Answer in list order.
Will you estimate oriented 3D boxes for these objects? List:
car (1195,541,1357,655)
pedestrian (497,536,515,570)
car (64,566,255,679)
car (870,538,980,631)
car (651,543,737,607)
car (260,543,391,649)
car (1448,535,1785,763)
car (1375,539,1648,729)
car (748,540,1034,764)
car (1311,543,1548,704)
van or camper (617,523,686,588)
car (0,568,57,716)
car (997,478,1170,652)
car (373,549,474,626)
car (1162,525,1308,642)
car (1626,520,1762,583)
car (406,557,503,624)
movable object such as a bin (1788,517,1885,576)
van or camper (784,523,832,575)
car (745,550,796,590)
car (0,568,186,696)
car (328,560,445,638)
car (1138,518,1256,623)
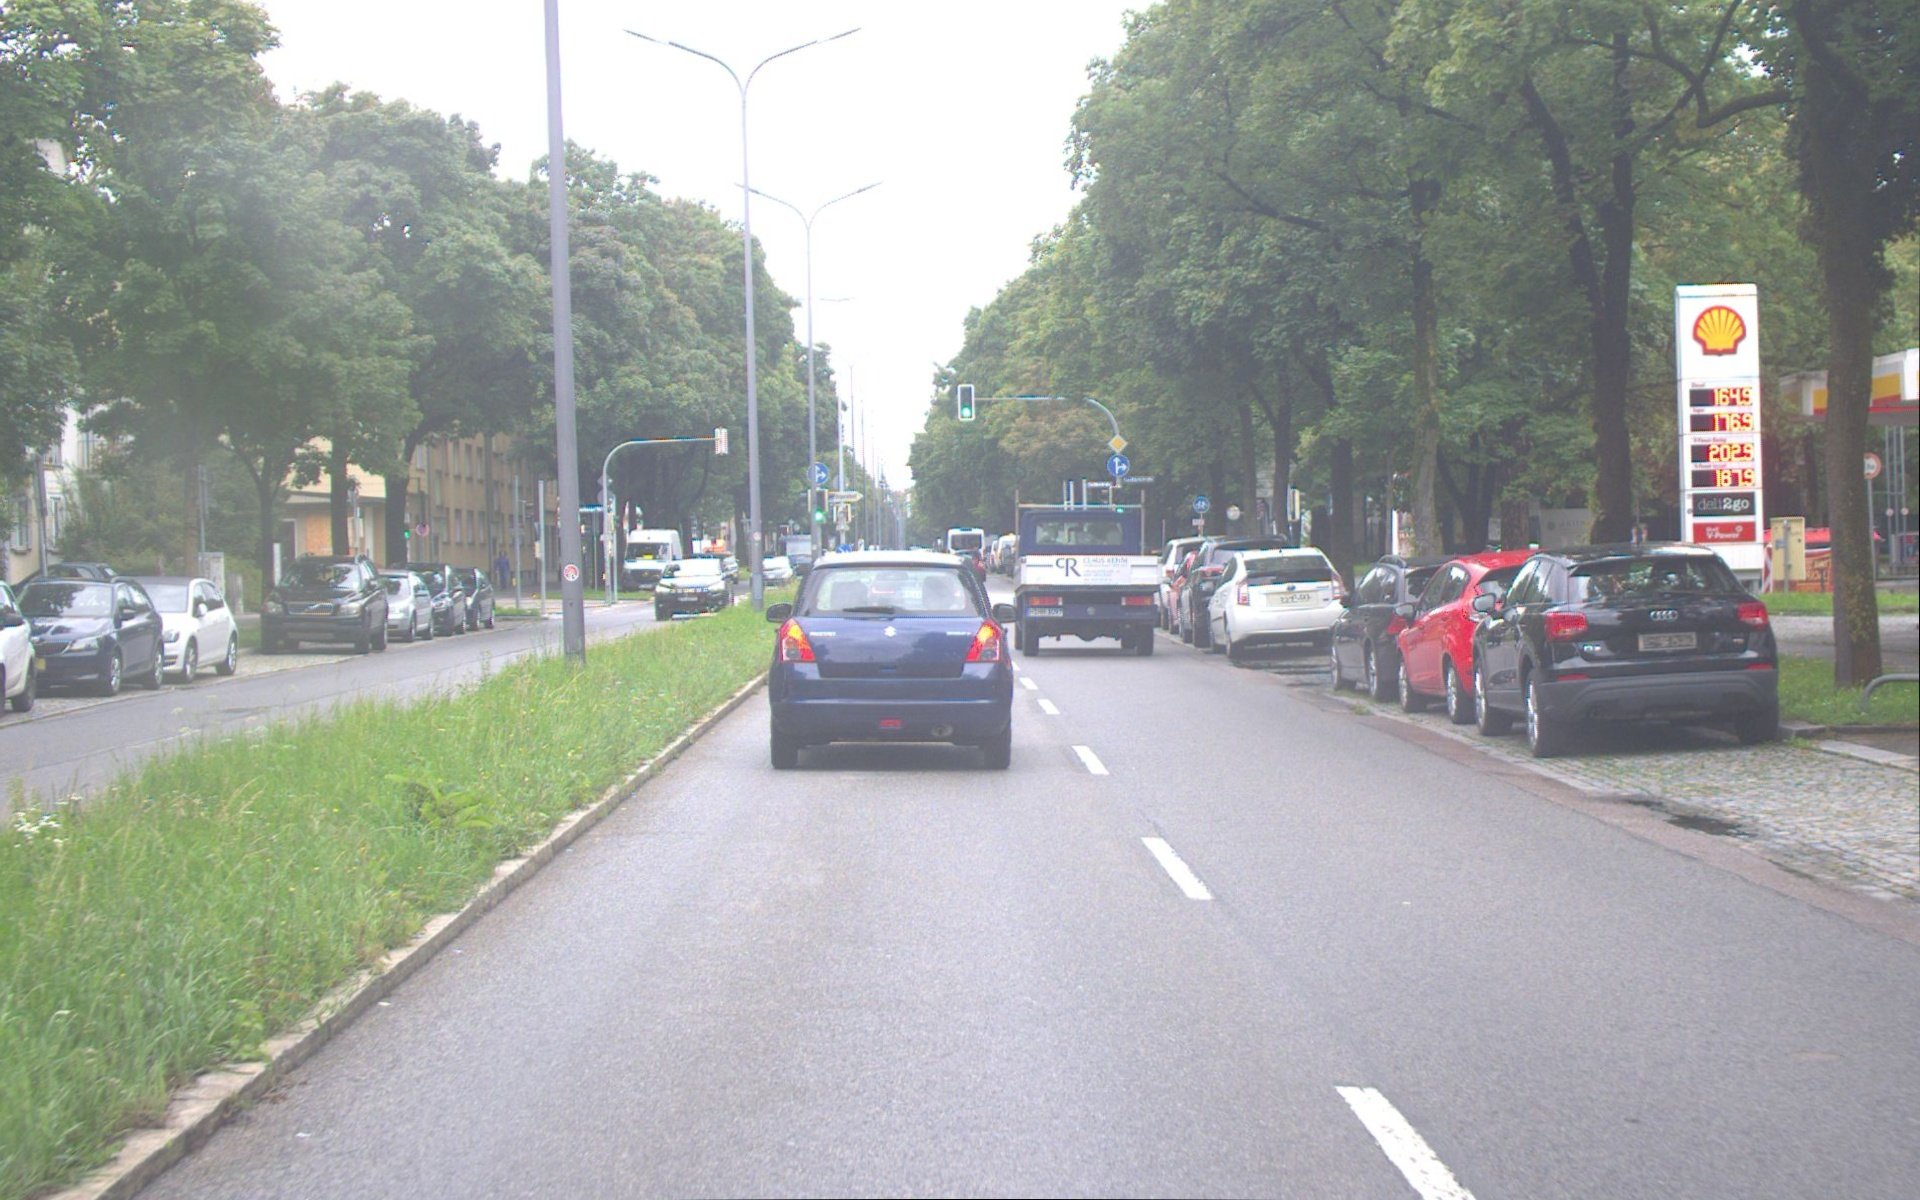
[{"bbox_3d":[4.501,-0.068,49.558,1.760,1.448,4.633,-3,1,-1],"label":"car"},{"bbox_3d":[-19.436,-2.000,147.210,0.629,1.435,0.806,0,0,1],"label":"pedestrian"},{"bbox_3d":[-11.299,0.282,48.793,1.674,1.438,4.320,1,1,0],"label":"car"},{"bbox_3d":[-0.585,-0.293,58.946,1.799,1.494,3.660,-2,1,0],"label":"car"},{"bbox_3d":[-6.411,-0.615,83.319,1.739,1.435,4.215,-2,1,0],"label":"car"},{"bbox_3d":[-11.446,-0.111,62.263,1.796,1.757,5.059,1,1,-5],"label":"car"},{"bbox_3d":[4.943,0.305,26.427,1.779,1.506,4.285,-3,1,1],"label":"car"},{"bbox_3d":[4.876,0.253,30.889,1.675,1.496,4.022,-3,1,-1],"label":"car"},{"bbox_3d":[-0.573,0.318,24.807,1.896,1.494,3.661,0,1,-4],"label":"car"},{"bbox_3d":[4.744,0.186,35.313,1.675,1.448,4.583,-3,1,-1],"label":"car"},{"bbox_3d":[-12.283,-1.785,137.133,2.140,2.467,6.259,-2,1,0],"label":"van or camper"},{"bbox_3d":[-11.253,0.435,38.271,1.690,1.560,3.080,1,1,-3],"label":"car"},{"bbox_3d":[1.771,-0.544,50.716,2.419,2.436,5.087,0,1,1],"label":"car"},{"bbox_3d":[-11.554,-0.291,74.246,1.666,1.557,4.300,-2,1,-3],"label":"car"},{"bbox_3d":[4.357,-0.306,55.118,1.760,1.692,5.230,-3,1,-1],"label":"car"},{"bbox_3d":[23.148,-1.538,108.488,3.881,1.605,1.932,-5,1,6],"label":"car"},{"bbox_3d":[-11.706,-0.239,79.803,1.564,1.445,3.838,2,1,1],"label":"car"},{"bbox_3d":[23.125,-1.408,90.775,2.060,1.481,1.837,-2,1,0],"label":"movable object such as a bin"},{"bbox_3d":[-6.912,-2.349,156.743,2.023,2.253,6.022,-2,1,-2],"label":"van or camper"},{"bbox_3d":[-7.222,-1.152,131.299,1.737,1.437,4.103,-2,1,-1],"label":"car"},{"bbox_3d":[-11.230,0.375,44.040,1.674,1.470,4.215,1,1,0],"label":"car"},{"bbox_3d":[-11.510,-0.046,69.222,1.666,1.440,4.375,1,1,-1],"label":"car"},{"bbox_3d":[4.463,-0.584,65.225,1.760,1.824,4.529,-3,1,-1],"label":"car"}]
